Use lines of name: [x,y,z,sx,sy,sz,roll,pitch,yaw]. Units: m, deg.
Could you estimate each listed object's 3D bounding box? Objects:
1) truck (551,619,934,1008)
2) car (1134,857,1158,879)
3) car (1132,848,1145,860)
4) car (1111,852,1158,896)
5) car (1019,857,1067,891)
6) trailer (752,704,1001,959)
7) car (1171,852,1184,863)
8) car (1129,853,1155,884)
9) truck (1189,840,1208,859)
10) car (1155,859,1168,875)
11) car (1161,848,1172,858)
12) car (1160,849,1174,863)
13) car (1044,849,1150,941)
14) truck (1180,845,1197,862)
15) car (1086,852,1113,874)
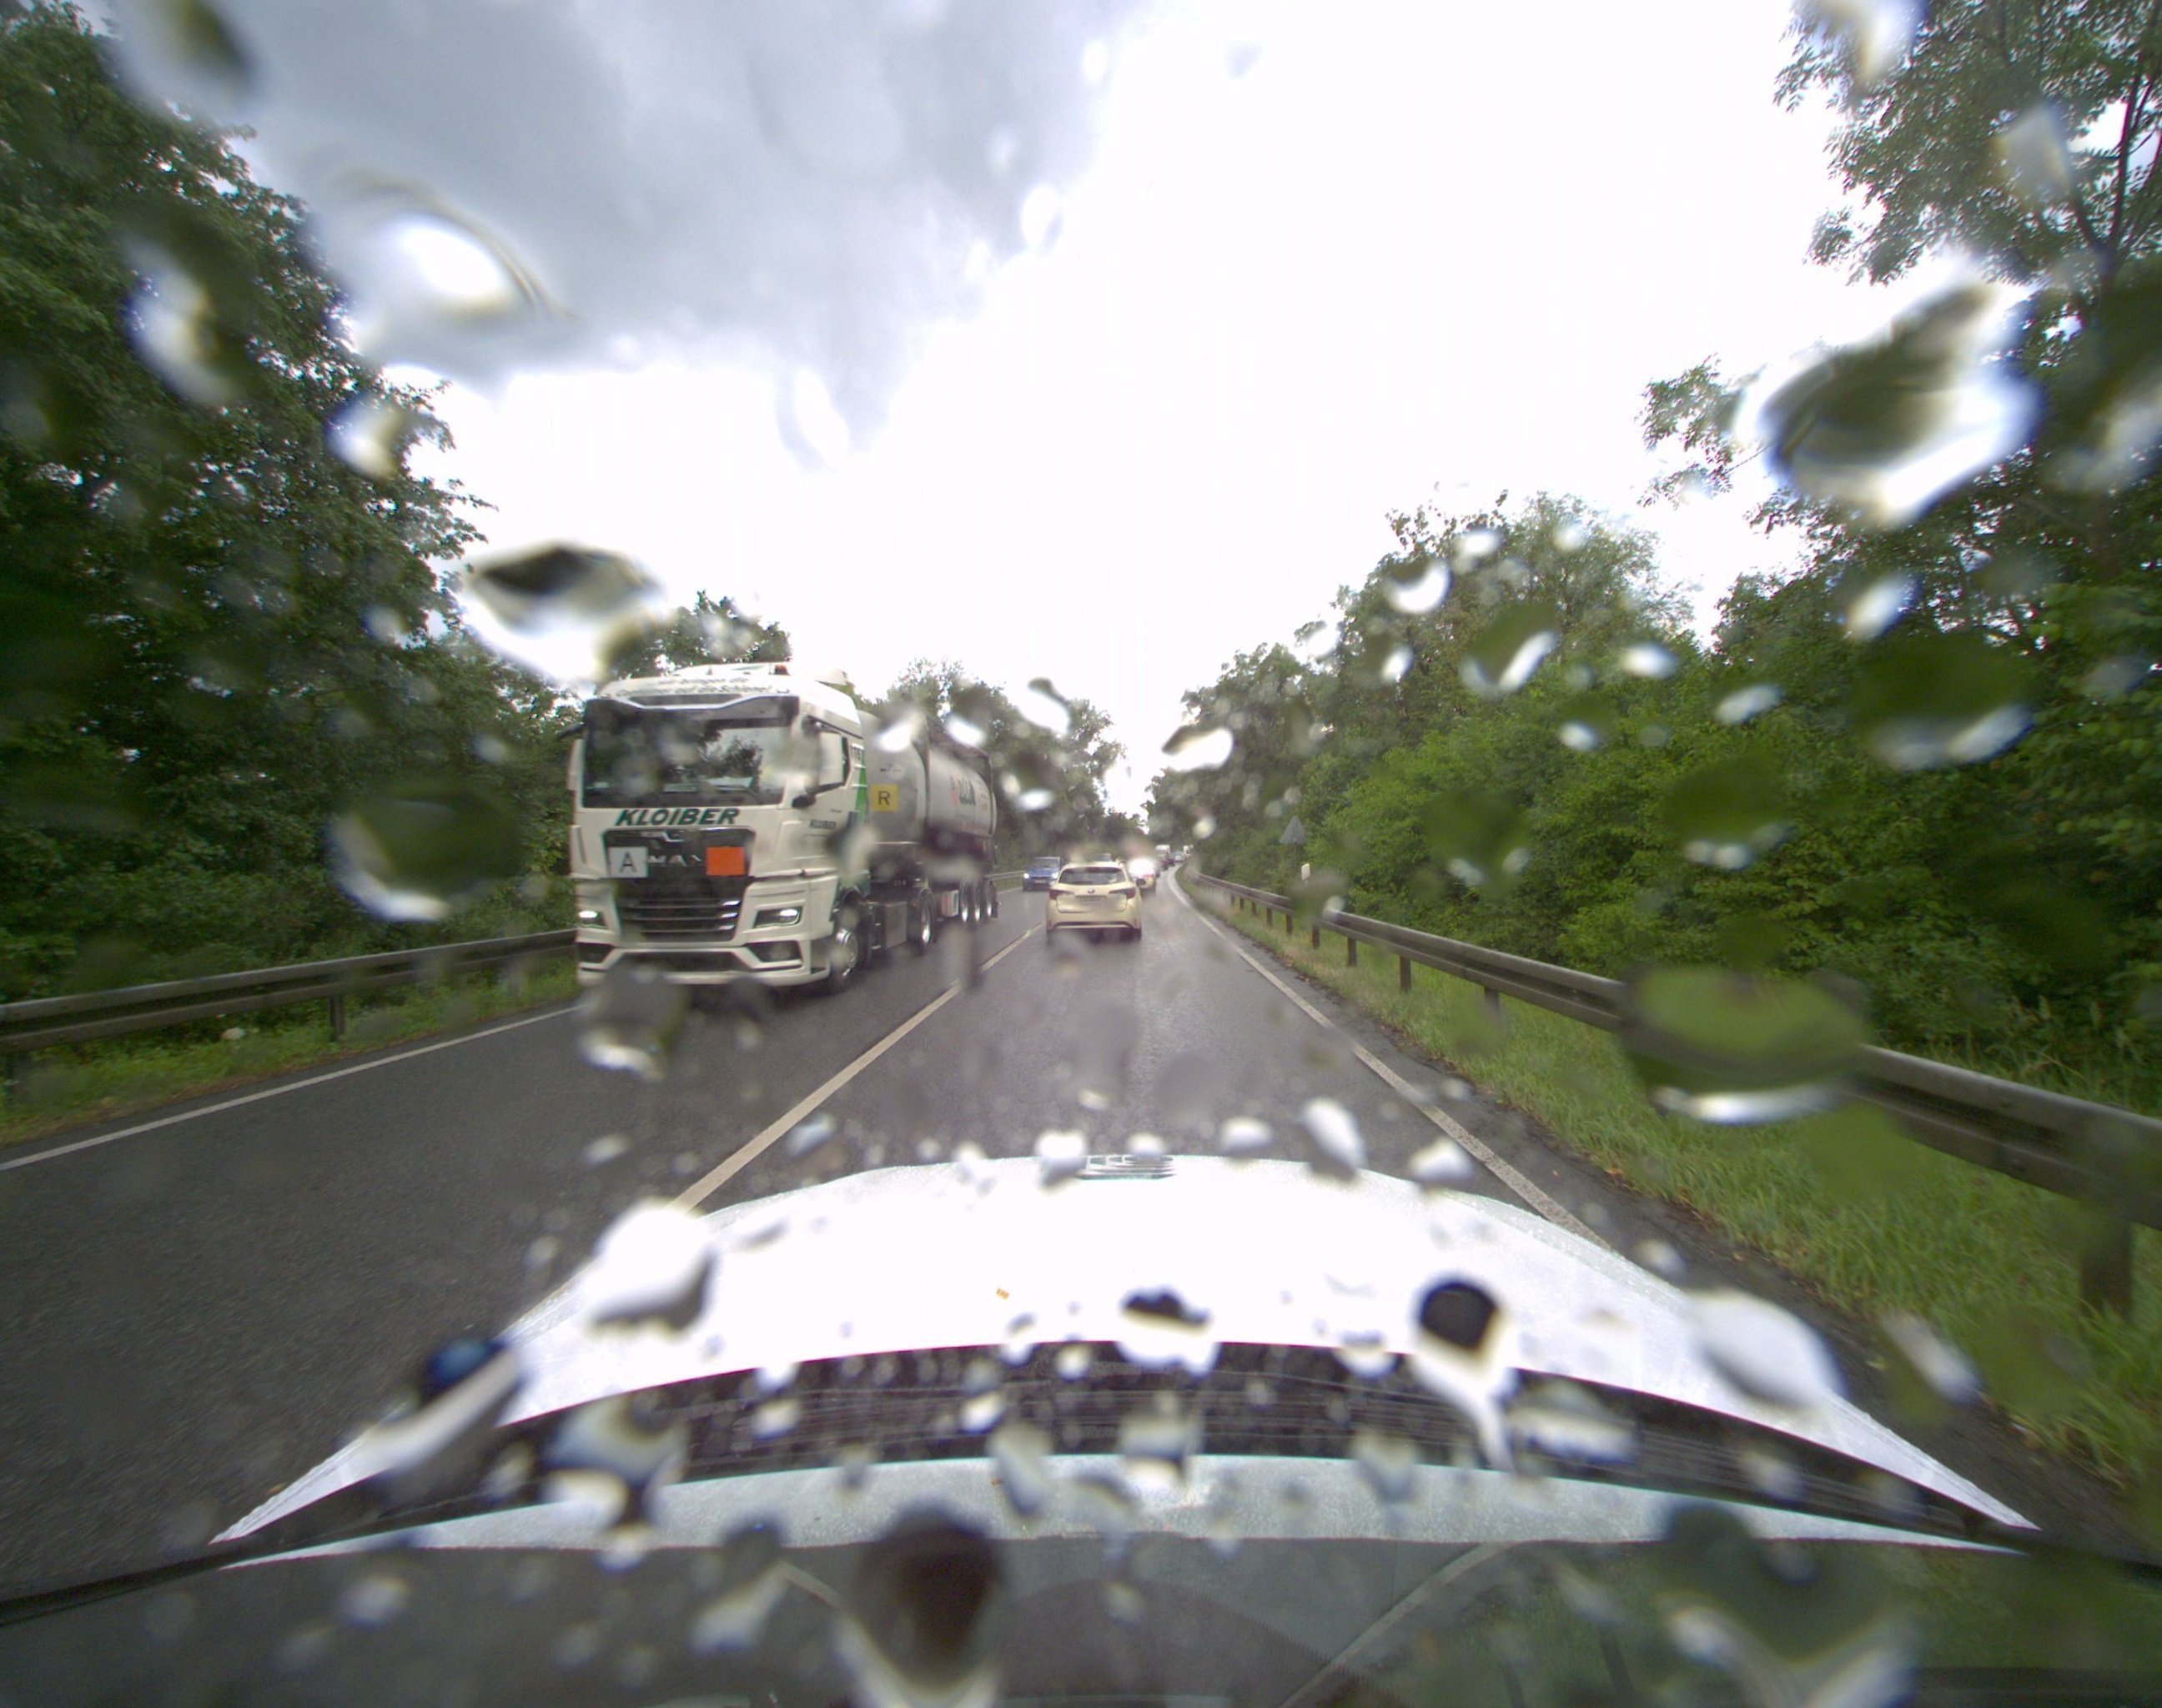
truck: [-3.837,-0.361,10.681,2.525,3.825,5.250,0,-1,4]
car: [4.752,1.025,59.414,1.603,1.547,3.819,-1,-1,5]
car: [7.362,-0.018,103.929,1.683,1.555,4.448,-1,0,5]
car: [2.097,0.738,31.465,1.660,1.580,3.897,0,-1,4]
car: [-1.749,0.935,38.511,1.699,1.516,3.918,0,-1,5]
trailer: [-3.485,-0.288,16.202,2.525,3.825,7.798,0,-1,4]
car: [13.823,0.481,116.429,1.759,1.547,3.823,-1,-1,9]
car: [3.147,0.758,42.419,1.295,1.547,3.263,0,-1,4]
truck: [23.279,-0.904,161.281,3.085,3.680,7.026,-1,-1,14]
car: [7.684,1.244,77.531,1.162,1.547,2.607,0,-1,4]
car: [16.952,-0.196,161.059,1.983,2.014,4.008,-1,-1,7]
car: [10.212,0.227,96.424,1.607,1.613,3.629,-1,-1,7]
car: [0.340,0.741,16.233,1.827,1.580,4.157,0,-1,1]
truck: [18.187,0.008,138.224,2.537,2.713,7.547,-1,-1,6]
car: [1.473,0.717,63.436,1.838,1.644,4.304,0,0,5]
